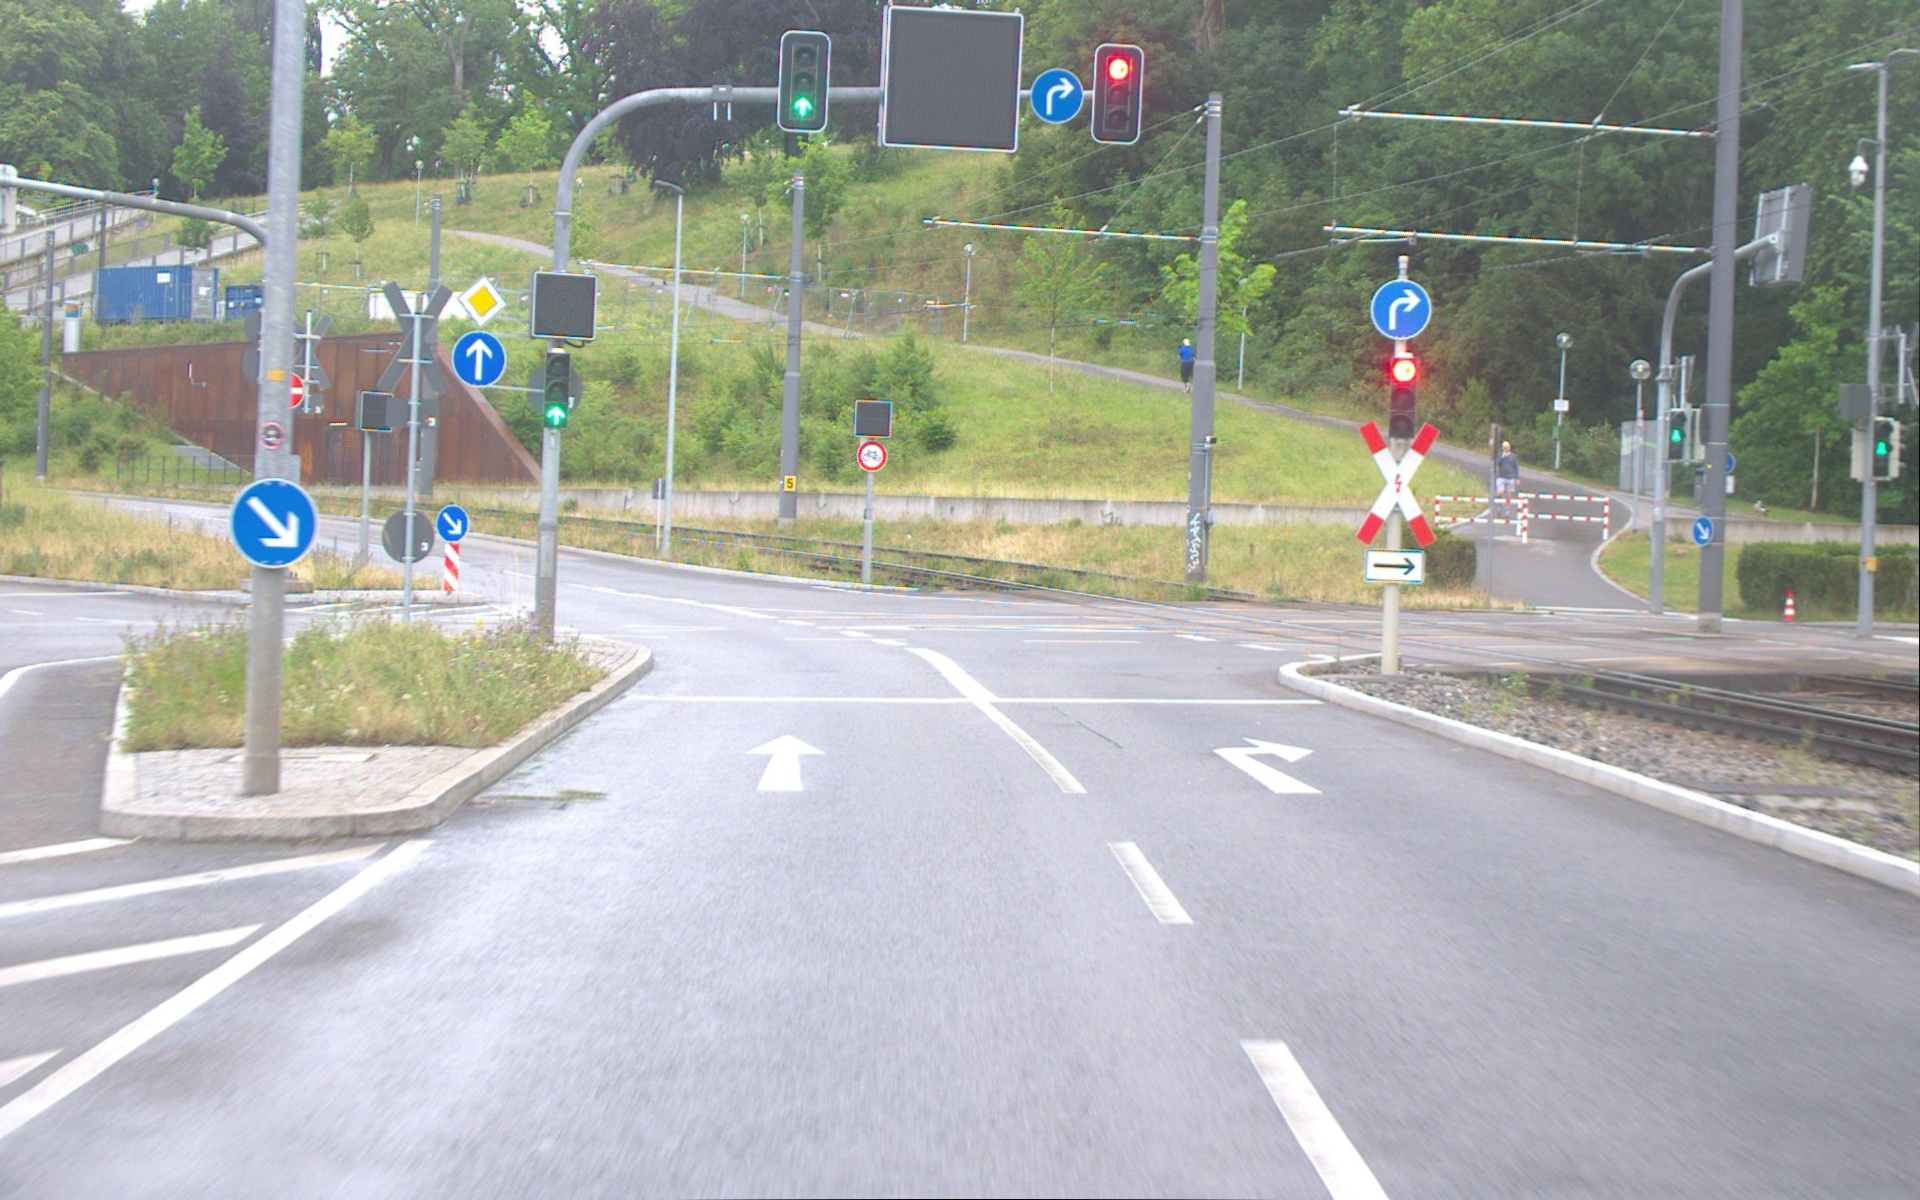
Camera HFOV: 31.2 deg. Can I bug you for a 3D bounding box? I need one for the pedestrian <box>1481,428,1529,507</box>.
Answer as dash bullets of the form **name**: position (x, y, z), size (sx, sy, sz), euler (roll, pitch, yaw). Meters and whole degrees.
- **pedestrian**: position (12.908, -3.131, 81.349), size (0.958, 1.775, 1.122), euler (4, 2, 11)
